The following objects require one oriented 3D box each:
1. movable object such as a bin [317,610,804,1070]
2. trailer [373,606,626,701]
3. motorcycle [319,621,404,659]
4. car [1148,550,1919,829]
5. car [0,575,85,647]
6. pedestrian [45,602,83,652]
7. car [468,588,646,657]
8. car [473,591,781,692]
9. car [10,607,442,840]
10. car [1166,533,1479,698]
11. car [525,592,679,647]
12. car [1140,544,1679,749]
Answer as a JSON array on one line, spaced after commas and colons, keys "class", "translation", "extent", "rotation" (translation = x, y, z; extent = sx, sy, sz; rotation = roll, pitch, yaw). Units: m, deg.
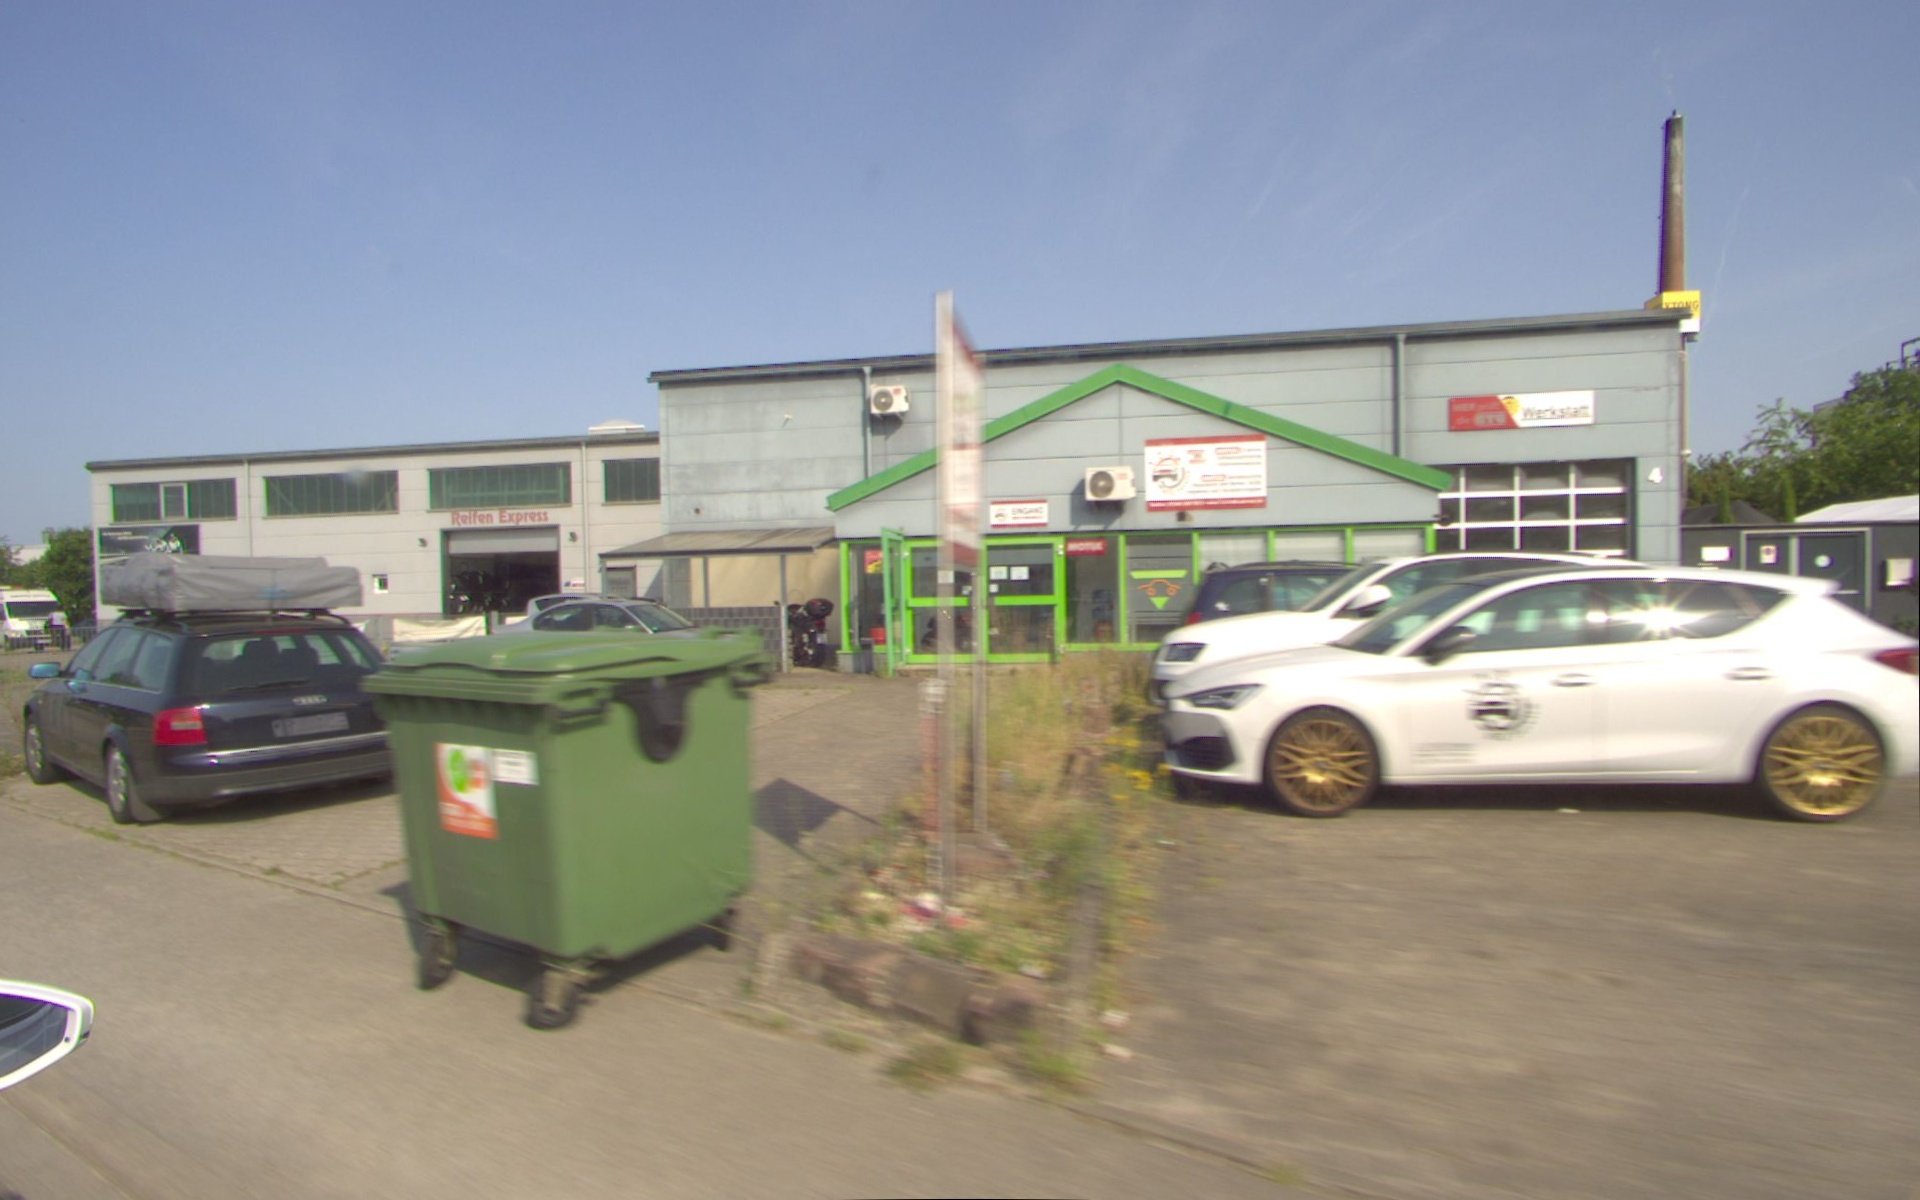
[{"class": "movable object such as a bin", "translation": [-1.562, 0.764, 3.958], "extent": [1.485, 1.372, 1.077], "rotation": [-1, 3, 34]}, {"class": "trailer", "translation": [-6.471, 0.739, 14.229], "extent": [2.919, 1.264, 1.495], "rotation": [0, -1, 7]}, {"class": "motorcycle", "translation": [-18.178, 1.209, 30.424], "extent": [2.160, 1.109, 0.803], "rotation": [-1, 1, 9]}, {"class": "car", "translation": [3.374, 0.507, 6.432], "extent": [4.181, 1.485, 1.692], "rotation": [-1, 1, 9]}, {"class": "car", "translation": [-38.105, 0.460, 40.903], "extent": [5.797, 2.742, 1.969], "rotation": [-1, 1, 33]}, {"class": "pedestrian", "translation": [-30.642, 0.911, 34.257], "extent": [0.693, 1.662, 0.746], "rotation": [-1, 1, -22]}, {"class": "car", "translation": [-9.814, 0.543, 24.507], "extent": [3.734, 1.589, 1.638], "rotation": [-1, 1, 12]}, {"class": "car", "translation": [-5.219, 0.644, 15.898], "extent": [4.376, 1.485, 1.643], "rotation": [-1, 1, 11]}, {"class": "car", "translation": [-6.057, 0.784, 8.072], "extent": [4.338, 1.387, 1.667], "rotation": [-1, 0, 38]}, {"class": "car", "translation": [4.063, 0.187, 11.667], "extent": [3.152, 1.743, 1.643], "rotation": [-1, 1, 9]}, {"class": "car", "translation": [-9.800, 0.527, 27.515], "extent": [3.642, 1.421, 1.680], "rotation": [-1, 0, 12]}, {"class": "car", "translation": [3.696, 0.397, 8.929], "extent": [4.054, 1.593, 1.720], "rotation": [-1, 1, 9]}]
